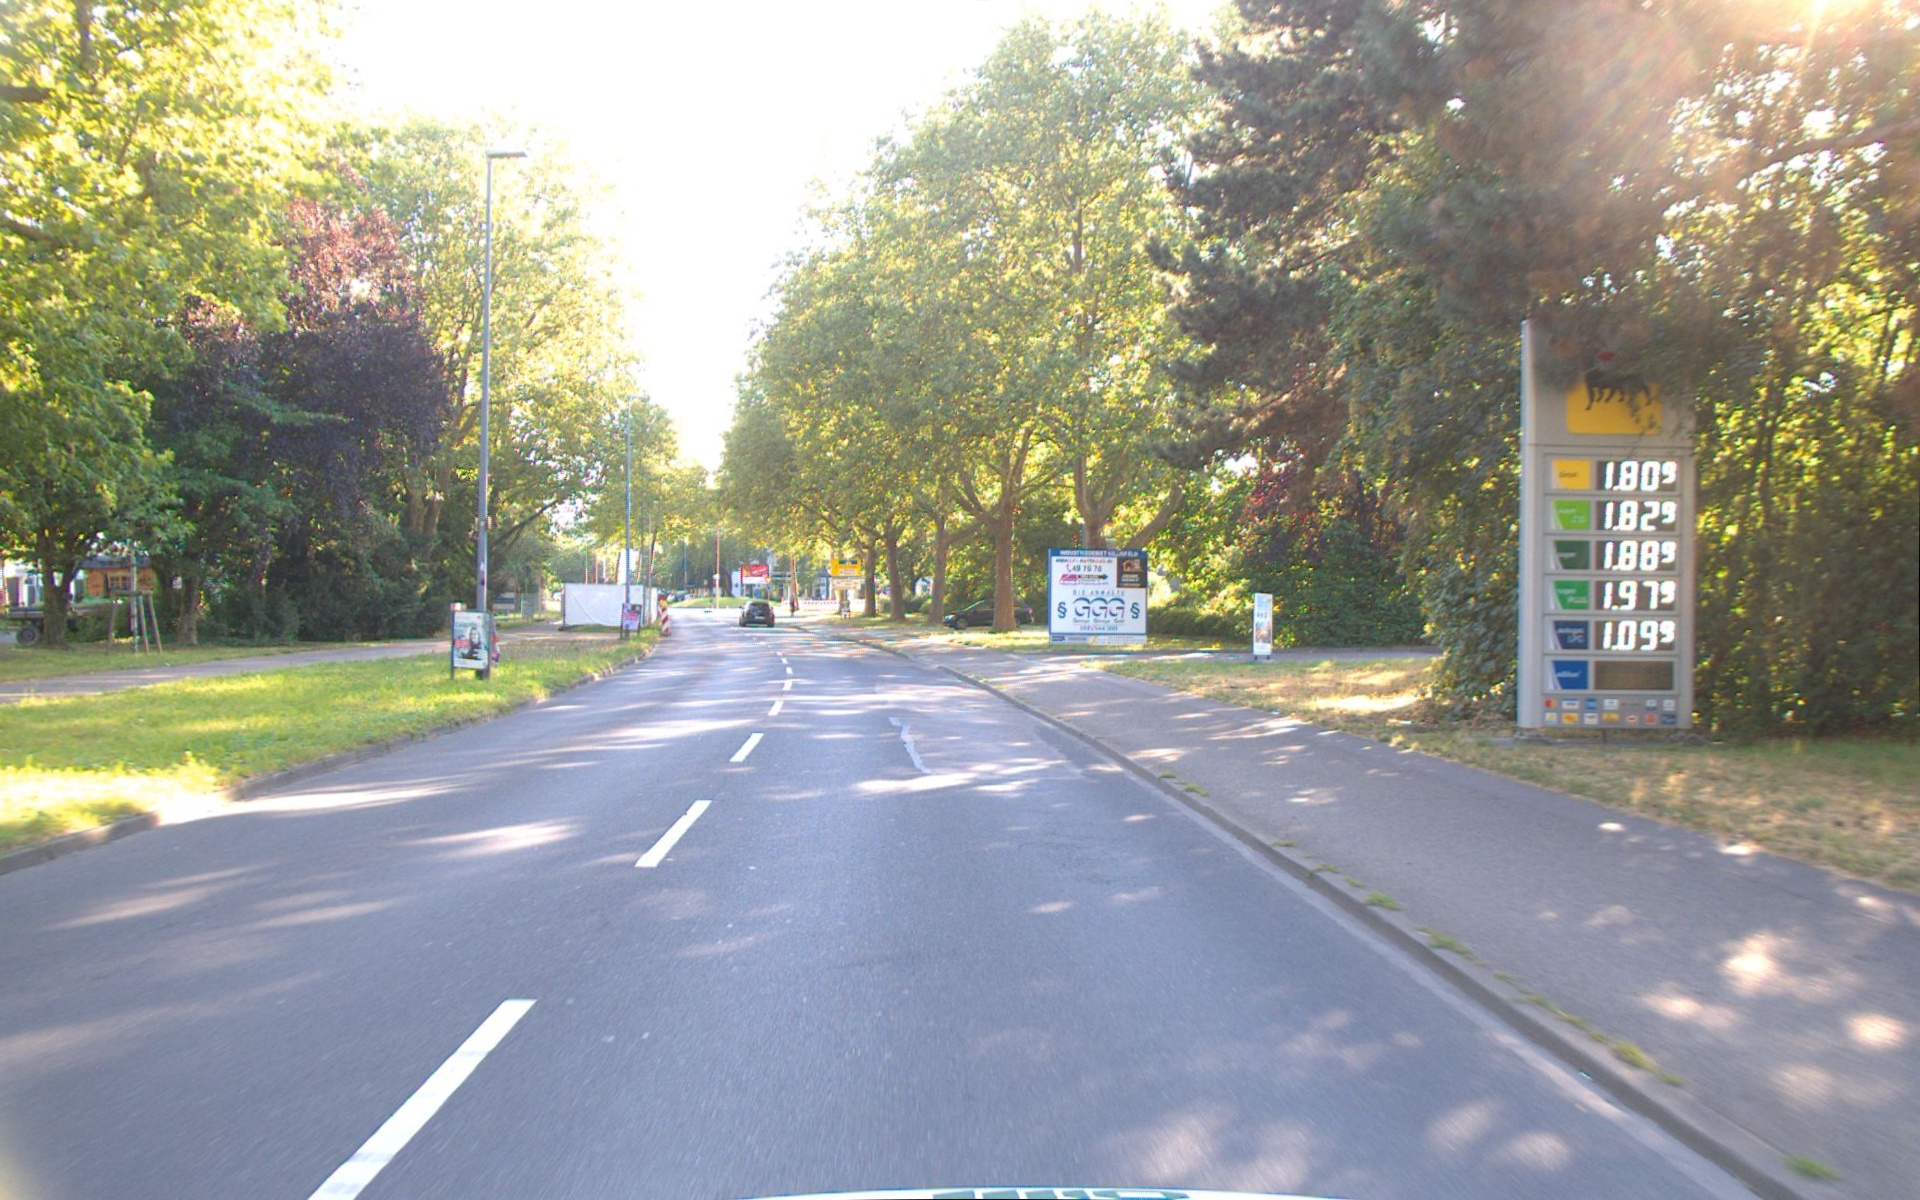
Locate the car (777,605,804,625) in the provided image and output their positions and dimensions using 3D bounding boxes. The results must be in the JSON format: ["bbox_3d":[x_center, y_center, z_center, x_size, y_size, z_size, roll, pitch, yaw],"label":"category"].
[{"bbox_3d":[-17.710,1.587,172.657,1.951,2.049,4.003,0,0,6],"label":"car"}]

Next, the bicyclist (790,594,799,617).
[{"bbox_3d":[-12.897,0.445,128.885,0.639,1.735,0.869,2,-1,-10],"label":"bicyclist"}]

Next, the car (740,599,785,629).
[{"bbox_3d":[-10.925,0.754,91.788,1.801,1.633,3.864,0,-1,4],"label":"car"}]

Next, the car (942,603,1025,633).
[{"bbox_3d":[1.151,0.891,82.461,3.911,1.468,1.758,0,0,-7],"label":"car"}]
